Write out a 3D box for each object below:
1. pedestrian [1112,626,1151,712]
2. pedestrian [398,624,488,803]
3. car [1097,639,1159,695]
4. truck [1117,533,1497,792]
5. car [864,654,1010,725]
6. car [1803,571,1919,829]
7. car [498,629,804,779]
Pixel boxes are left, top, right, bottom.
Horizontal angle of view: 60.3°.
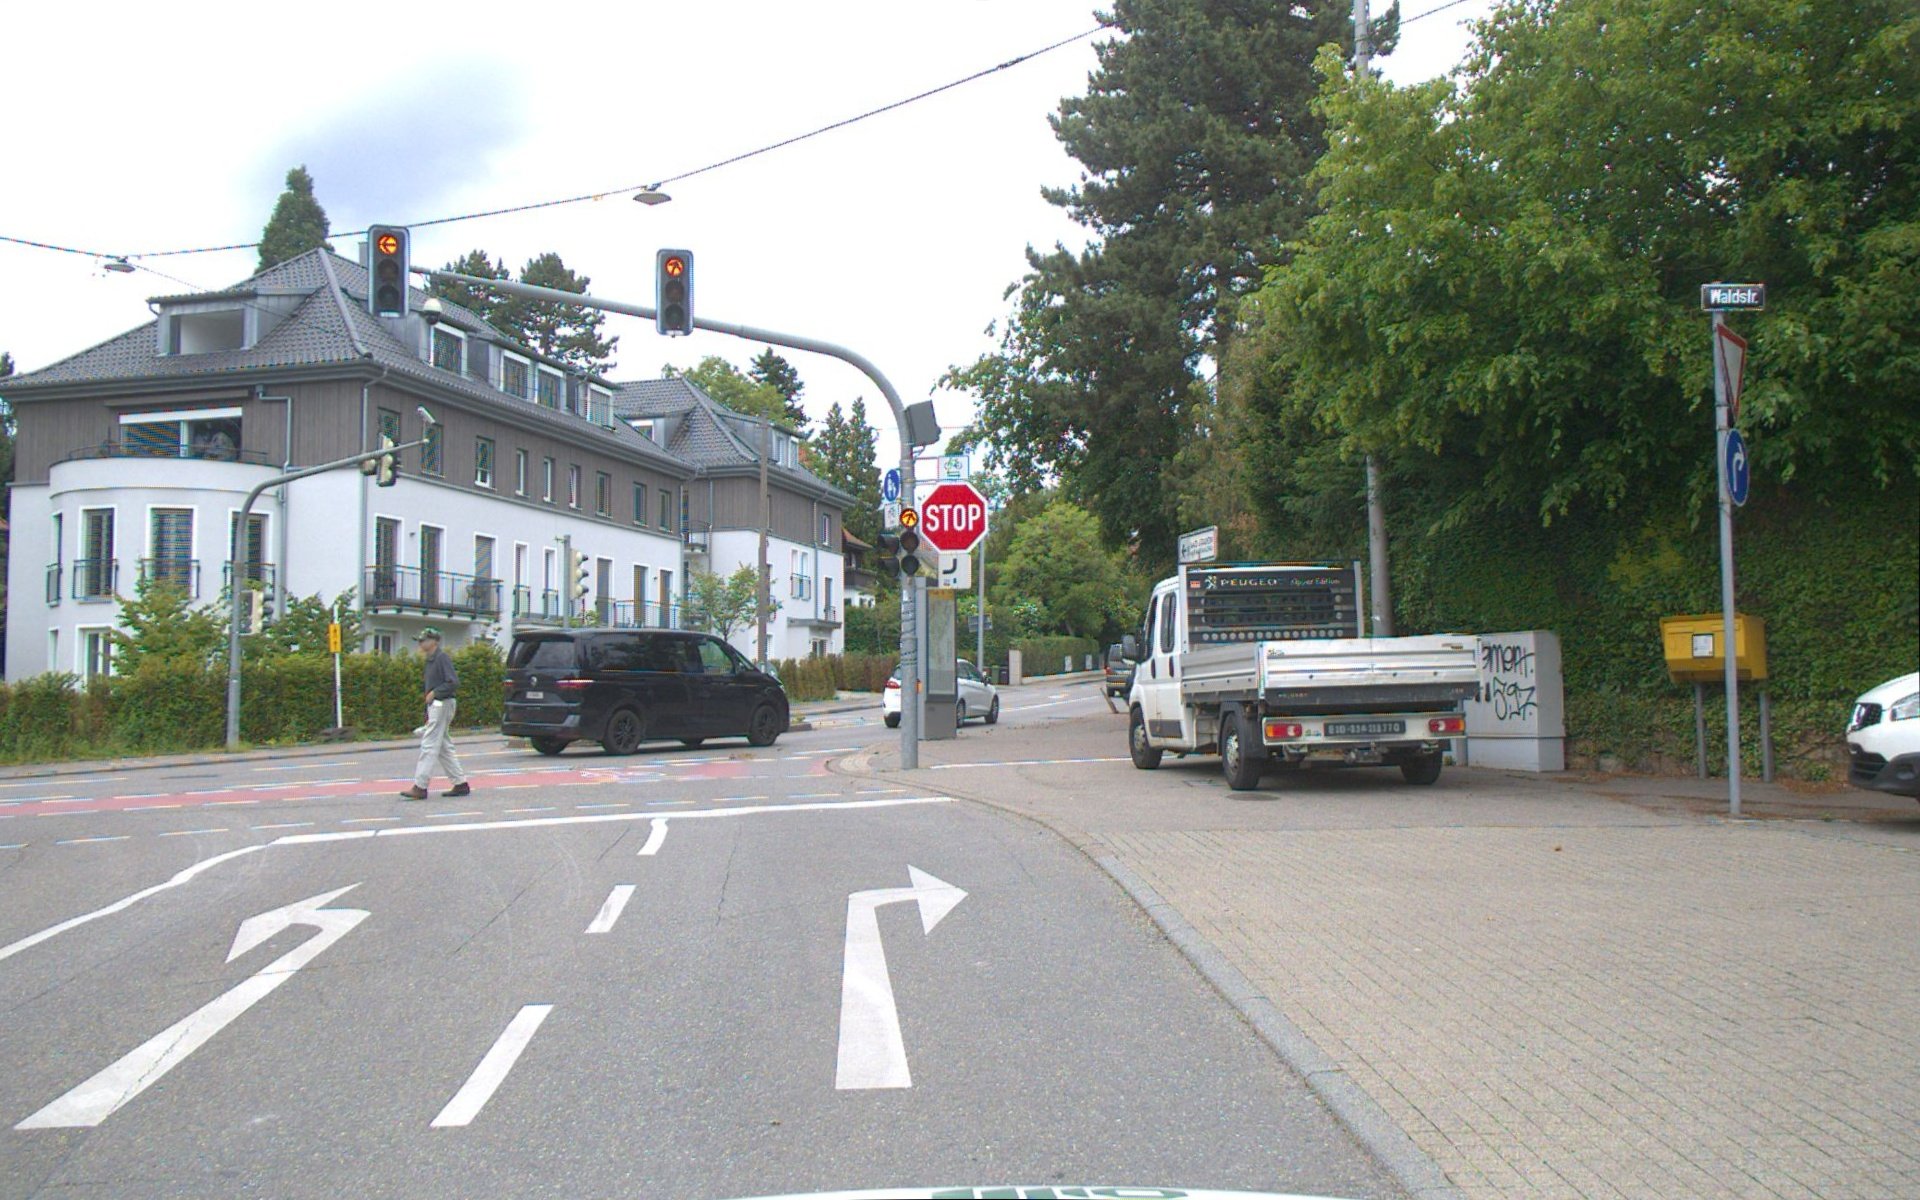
[{"bbox_3d":[4.159,1.662,40.128,0.821,2.049,0.589,-2,-1,0],"label":"pedestrian"},{"bbox_3d":[-5.177,1.111,16.553,0.691,1.711,0.678,-1,0,-33],"label":"pedestrian"},{"bbox_3d":[6.388,2.571,63.282,1.952,2.049,4.509,-1,-3,1],"label":"car"},{"bbox_3d":[3.315,0.669,17.358,2.142,2.234,5.872,-1,-3,-7],"label":"truck"},{"bbox_3d":[-0.432,1.936,36.026,1.890,1.407,4.001,-3,-3,19],"label":"car"},{"bbox_3d":[8.073,0.630,10.881,4.150,1.622,1.989,-2,-3,17],"label":"car"},{"bbox_3d":[-4.758,1.535,26.195,1.959,2.049,4.764,1,0,34],"label":"car"}]
